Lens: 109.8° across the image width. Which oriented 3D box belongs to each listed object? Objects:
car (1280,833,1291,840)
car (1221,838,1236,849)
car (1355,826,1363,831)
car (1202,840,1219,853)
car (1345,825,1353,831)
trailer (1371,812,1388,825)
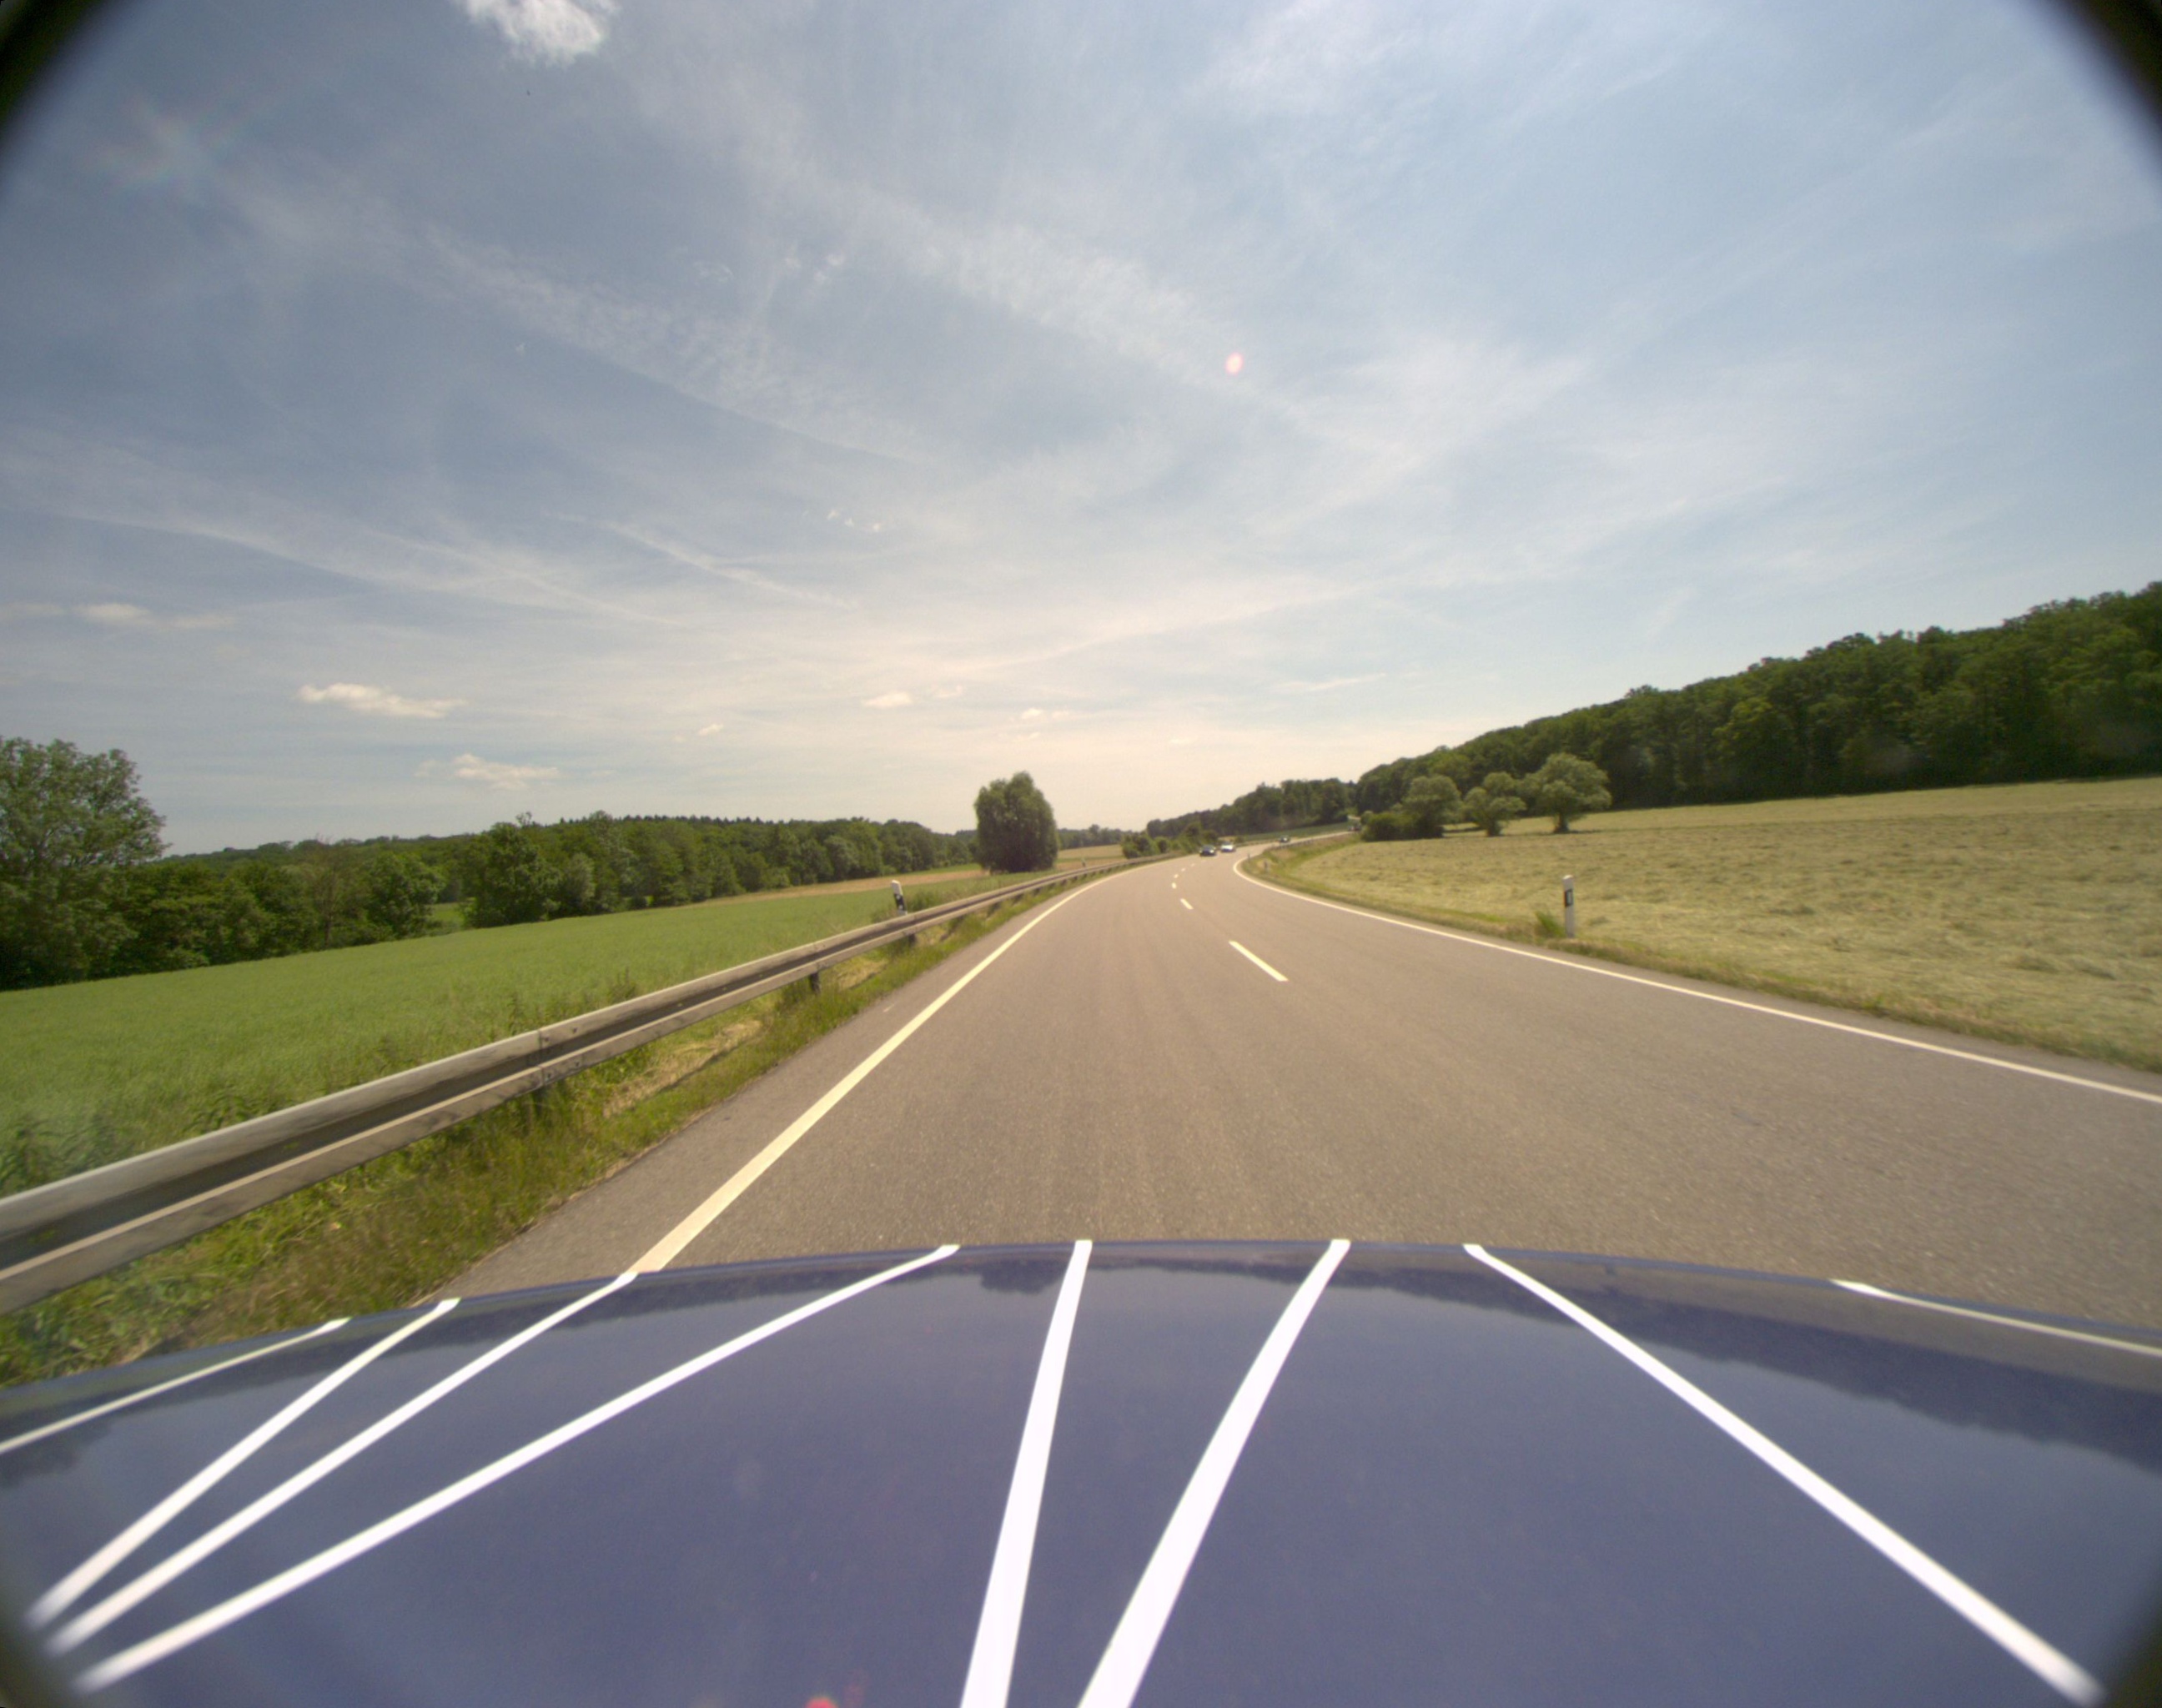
[{"bbox_3d":[42.830,-3.650,159.298,1.619,1.428,3.447,-3,2,25],"label":"car"},{"bbox_3d":[22.448,-1.604,115.321,1.619,1.428,3.446,-3,2,20],"label":"car"},{"bbox_3d":[78.646,-7.238,215.022,1.701,1.461,4.206,0,2,29],"label":"car"},{"bbox_3d":[16.851,-1.007,98.675,1.619,1.428,3.446,-3,2,18],"label":"car"},{"bbox_3d":[80.324,-7.786,227.481,1.619,1.428,3.448,-2,2,29],"label":"car"},{"bbox_3d":[98.987,-11.912,252.019,3.243,4.127,14.464,0,3,29],"label":"trailer"}]
